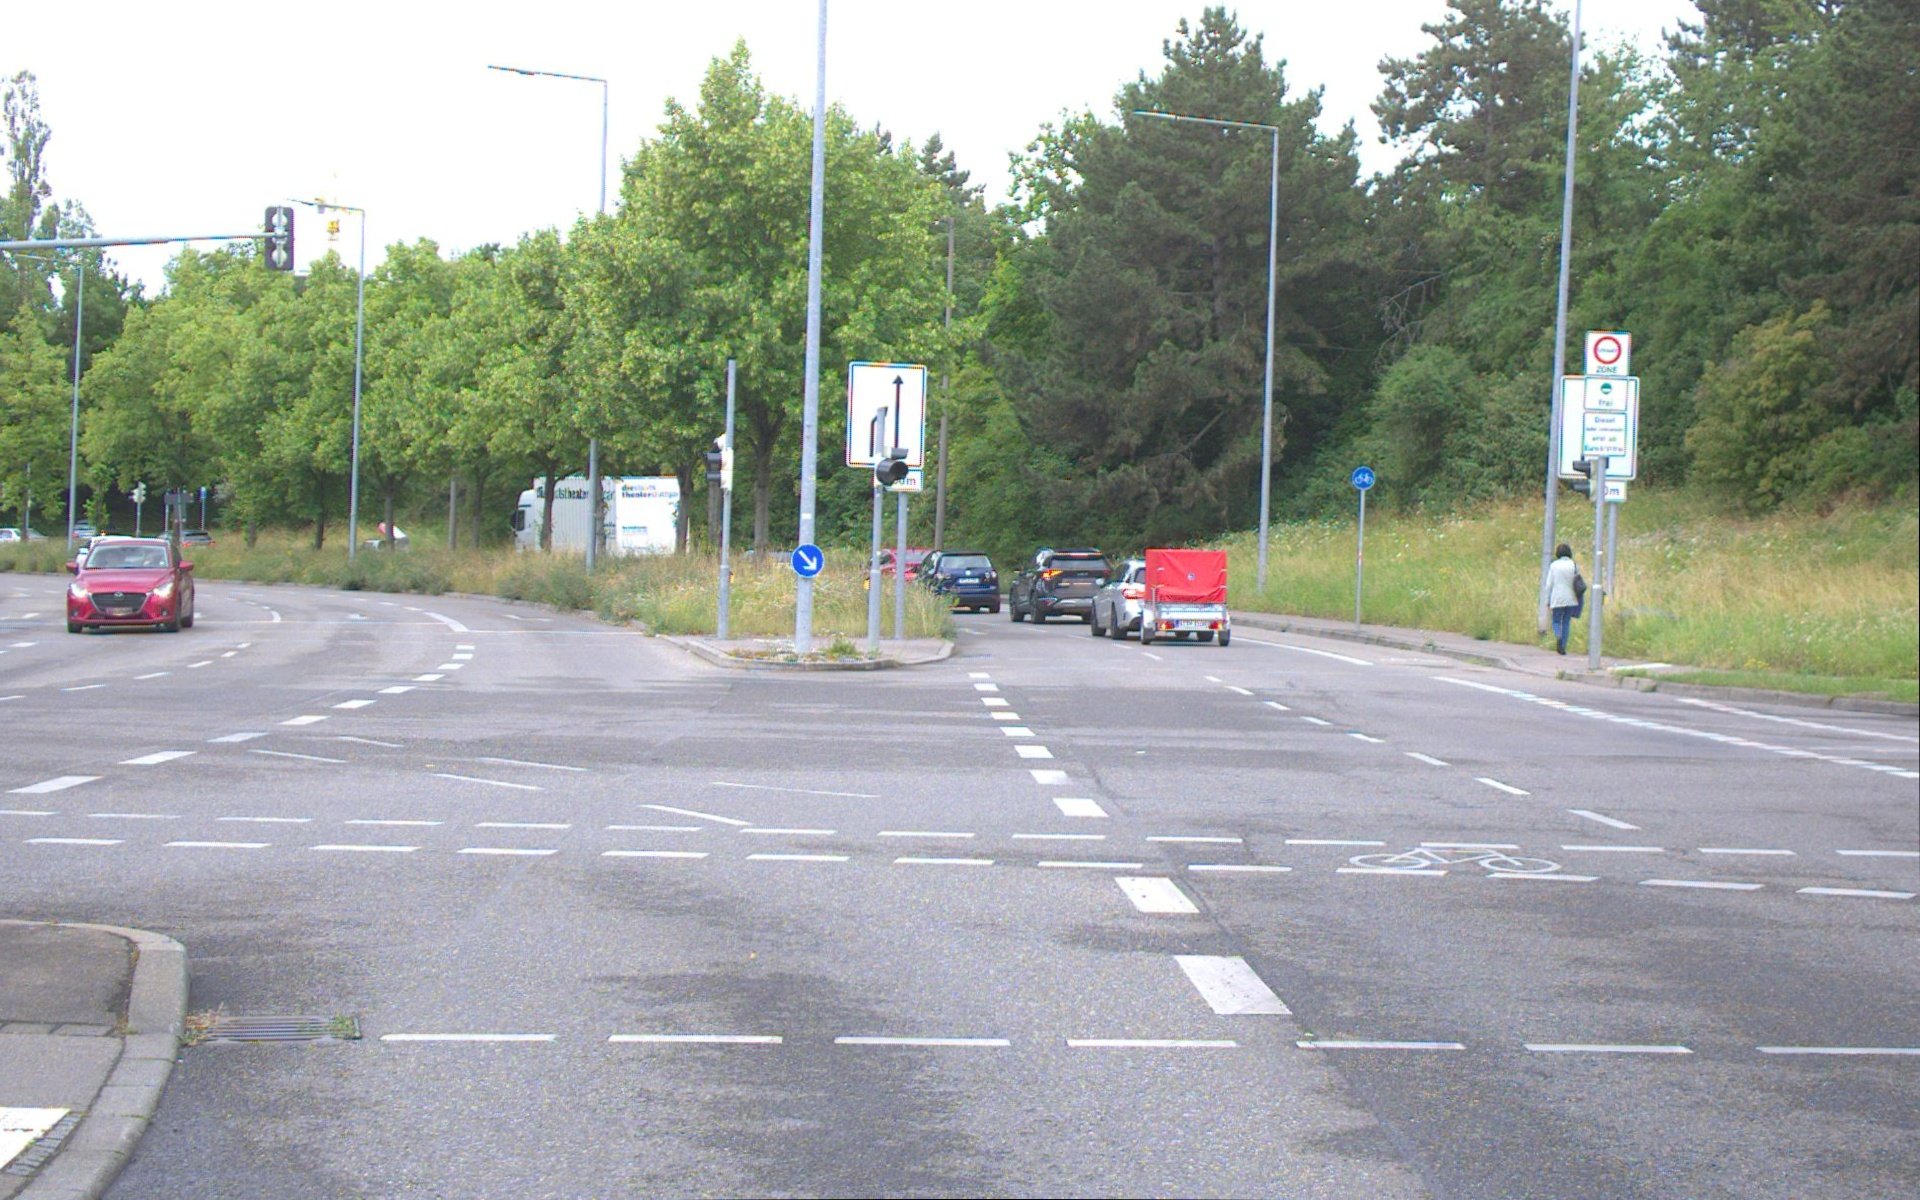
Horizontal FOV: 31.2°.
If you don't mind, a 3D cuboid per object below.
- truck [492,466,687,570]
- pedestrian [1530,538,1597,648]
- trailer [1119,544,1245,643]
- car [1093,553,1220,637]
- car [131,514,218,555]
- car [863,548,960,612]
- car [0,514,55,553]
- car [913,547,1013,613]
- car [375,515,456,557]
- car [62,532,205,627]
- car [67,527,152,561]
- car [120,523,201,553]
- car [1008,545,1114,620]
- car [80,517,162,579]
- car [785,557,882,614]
[{"bbox_3d":[-12.647,-2.782,116.189,2.739,3.317,11.409,0,1,-27],"label":"truck"},{"bbox_3d":[9.017,-0.107,51.384,0.814,1.622,0.791,1,1,-1],"label":"pedestrian"},{"bbox_3d":[3.774,-0.135,58.900,1.764,1.610,3.044,1,1,-3],"label":"trailer"},{"bbox_3d":[3.534,-0.118,62.641,1.778,1.416,4.459,1,1,-3],"label":"car"},{"bbox_3d":[-32.928,-2.745,144.087,1.994,1.678,3.999,0,1,-39],"label":"car"},{"bbox_3d":[-1.314,-0.547,91.102,1.777,1.541,4.026,-1,2,-12],"label":"car"},{"bbox_3d":[-42.208,-2.961,152.899,3.997,1.678,1.995,1,1,44],"label":"car"},{"bbox_3d":[0.050,-0.515,84.950,1.777,1.541,4.026,1,1,-10],"label":"car"},{"bbox_3d":[-20.648,-2.437,130.339,1.778,1.541,4.025,0,1,-29],"label":"car"},{"bbox_3d":[-13.062,-0.351,54.537,1.780,1.438,4.427,0,1,-8],"label":"car"},{"bbox_3d":[-39.838,-2.620,161.115,1.780,1.541,4.020,1,1,23],"label":"car"},{"bbox_3d":[-41.275,-3.189,177.509,1.781,1.541,4.018,1,1,30],"label":"car"},{"bbox_3d":[2.183,-0.411,75.161,1.777,1.541,4.026,1,1,-6],"label":"car"},{"bbox_3d":[-22.563,-1.400,92.546,1.828,1.623,4.427,0,1,-10],"label":"car"},{"bbox_3d":[-3.669,-0.431,99.022,1.777,1.541,4.026,0,1,-18],"label":"car"}]
